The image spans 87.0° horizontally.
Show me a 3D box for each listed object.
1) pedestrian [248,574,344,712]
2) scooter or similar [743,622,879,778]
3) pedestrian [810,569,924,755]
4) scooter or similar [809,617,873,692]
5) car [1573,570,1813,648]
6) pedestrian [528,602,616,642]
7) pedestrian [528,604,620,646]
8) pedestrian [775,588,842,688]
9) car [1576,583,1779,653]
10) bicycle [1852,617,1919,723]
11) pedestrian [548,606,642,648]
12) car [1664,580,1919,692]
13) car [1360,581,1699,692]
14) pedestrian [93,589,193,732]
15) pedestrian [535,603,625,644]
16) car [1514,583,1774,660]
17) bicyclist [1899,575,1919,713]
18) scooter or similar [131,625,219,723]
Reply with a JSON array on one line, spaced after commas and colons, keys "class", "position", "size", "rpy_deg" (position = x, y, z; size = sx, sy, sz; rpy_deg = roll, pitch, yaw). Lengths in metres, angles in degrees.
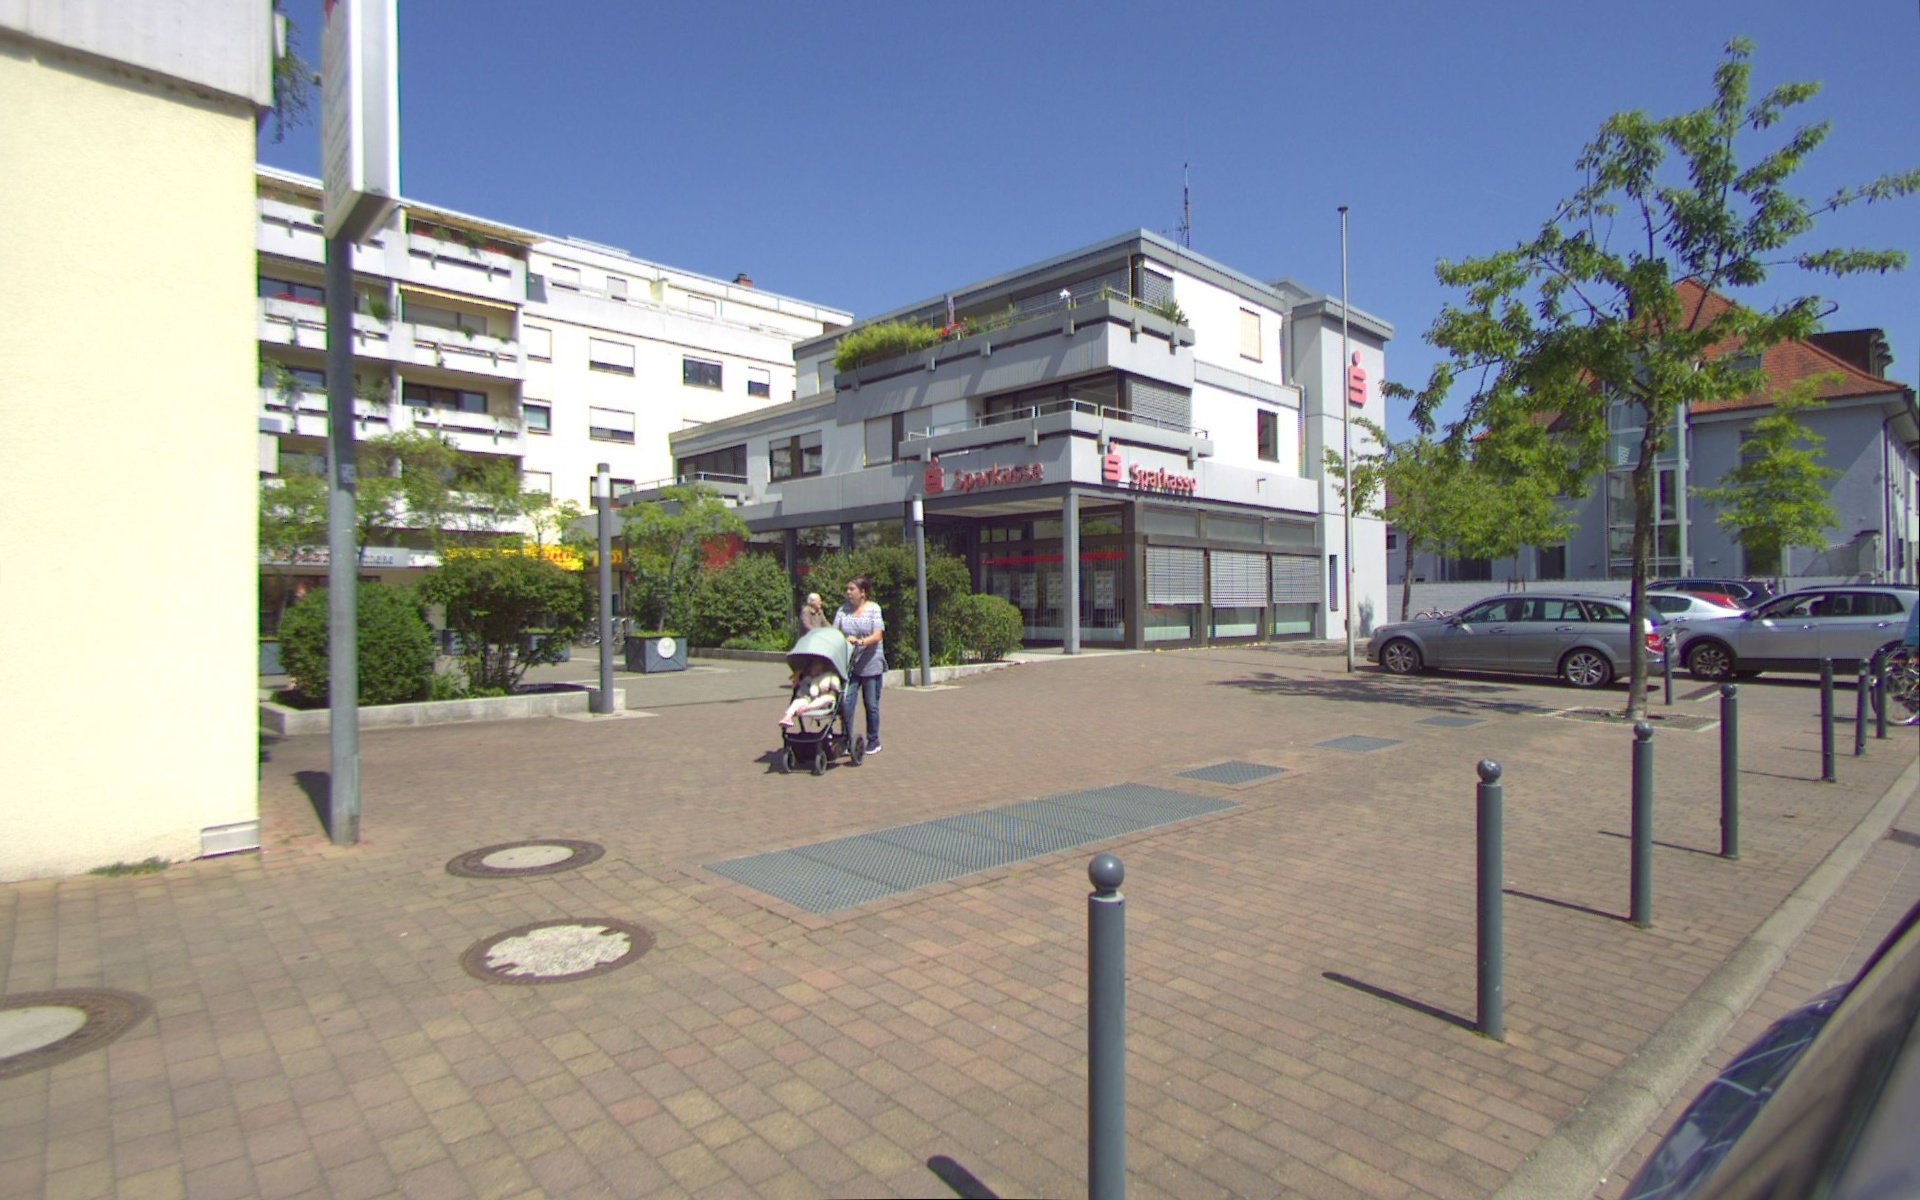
[{"class": "pedestrian", "position": [-8.825, 0.551, 13.459], "size": [0.700, 1.758, 0.890], "rpy_deg": [-1, -1, 39]}, {"class": "scooter or similar", "position": [-1.162, 0.751, 8.046], "size": [0.621, 1.120, 1.035], "rpy_deg": [-1, 0, 23]}, {"class": "pedestrian", "position": [-0.801, 0.517, 8.877], "size": [0.698, 1.541, 0.795], "rpy_deg": [-1, -1, 23]}, {"class": "scooter or similar", "position": [-1.807, 0.810, 15.357], "size": [0.802, 1.088, 0.582], "rpy_deg": [-1, -1, 42]}, {"class": "car", "position": [18.482, 0.157, 25.672], "size": [2.112, 1.793, 4.635], "rpy_deg": [1, 1, -43]}, {"class": "pedestrian", "position": [-13.450, 0.742, 35.202], "size": [0.982, 1.290, 2.736], "rpy_deg": [-1, 0, 40]}, {"class": "pedestrian", "position": [-12.684, 0.804, 33.350], "size": [0.982, 1.290, 2.736], "rpy_deg": [-1, 0, 40]}, {"class": "pedestrian", "position": [-2.379, 0.576, 15.881], "size": [0.808, 1.516, 0.659], "rpy_deg": [-2, -1, 43]}, {"class": "car", "position": [16.956, 0.368, 24.015], "size": [3.729, 1.470, 1.718], "rpy_deg": [2, 1, 43]}, {"class": "bicycle", "position": [11.151, 0.762, 11.244], "size": [1.860, 1.123, 0.676], "rpy_deg": [0, 0, 0]}, {"class": "pedestrian", "position": [-11.791, 0.848, 32.782], "size": [0.982, 1.290, 2.736], "rpy_deg": [-1, 0, 40]}, {"class": "car", "position": [13.907, 0.485, 16.151], "size": [1.821, 1.593, 4.002], "rpy_deg": [-1, 2, -33]}, {"class": "car", "position": [9.258, 0.482, 16.711], "size": [4.575, 1.531, 1.887], "rpy_deg": [2, 2, 43]}, {"class": "pedestrian", "position": [-9.087, 0.647, 11.283], "size": [0.606, 1.516, 0.813], "rpy_deg": [0, 0, -17]}, {"class": "pedestrian", "position": [-12.933, 0.773, 34.528], "size": [0.982, 1.290, 2.736], "rpy_deg": [-1, 0, 40]}, {"class": "car", "position": [14.997, 0.396, 22.348], "size": [4.535, 1.458, 1.811], "rpy_deg": [2, 1, 43]}, {"class": "bicyclist", "position": [11.126, 0.490, 11.247], "size": [0.747, 1.546, 0.671], "rpy_deg": [0, 0, 1]}, {"class": "scooter or similar", "position": [-9.329, 0.858, 12.049], "size": [0.578, 1.088, 0.807], "rpy_deg": [0, 0, -17]}]
